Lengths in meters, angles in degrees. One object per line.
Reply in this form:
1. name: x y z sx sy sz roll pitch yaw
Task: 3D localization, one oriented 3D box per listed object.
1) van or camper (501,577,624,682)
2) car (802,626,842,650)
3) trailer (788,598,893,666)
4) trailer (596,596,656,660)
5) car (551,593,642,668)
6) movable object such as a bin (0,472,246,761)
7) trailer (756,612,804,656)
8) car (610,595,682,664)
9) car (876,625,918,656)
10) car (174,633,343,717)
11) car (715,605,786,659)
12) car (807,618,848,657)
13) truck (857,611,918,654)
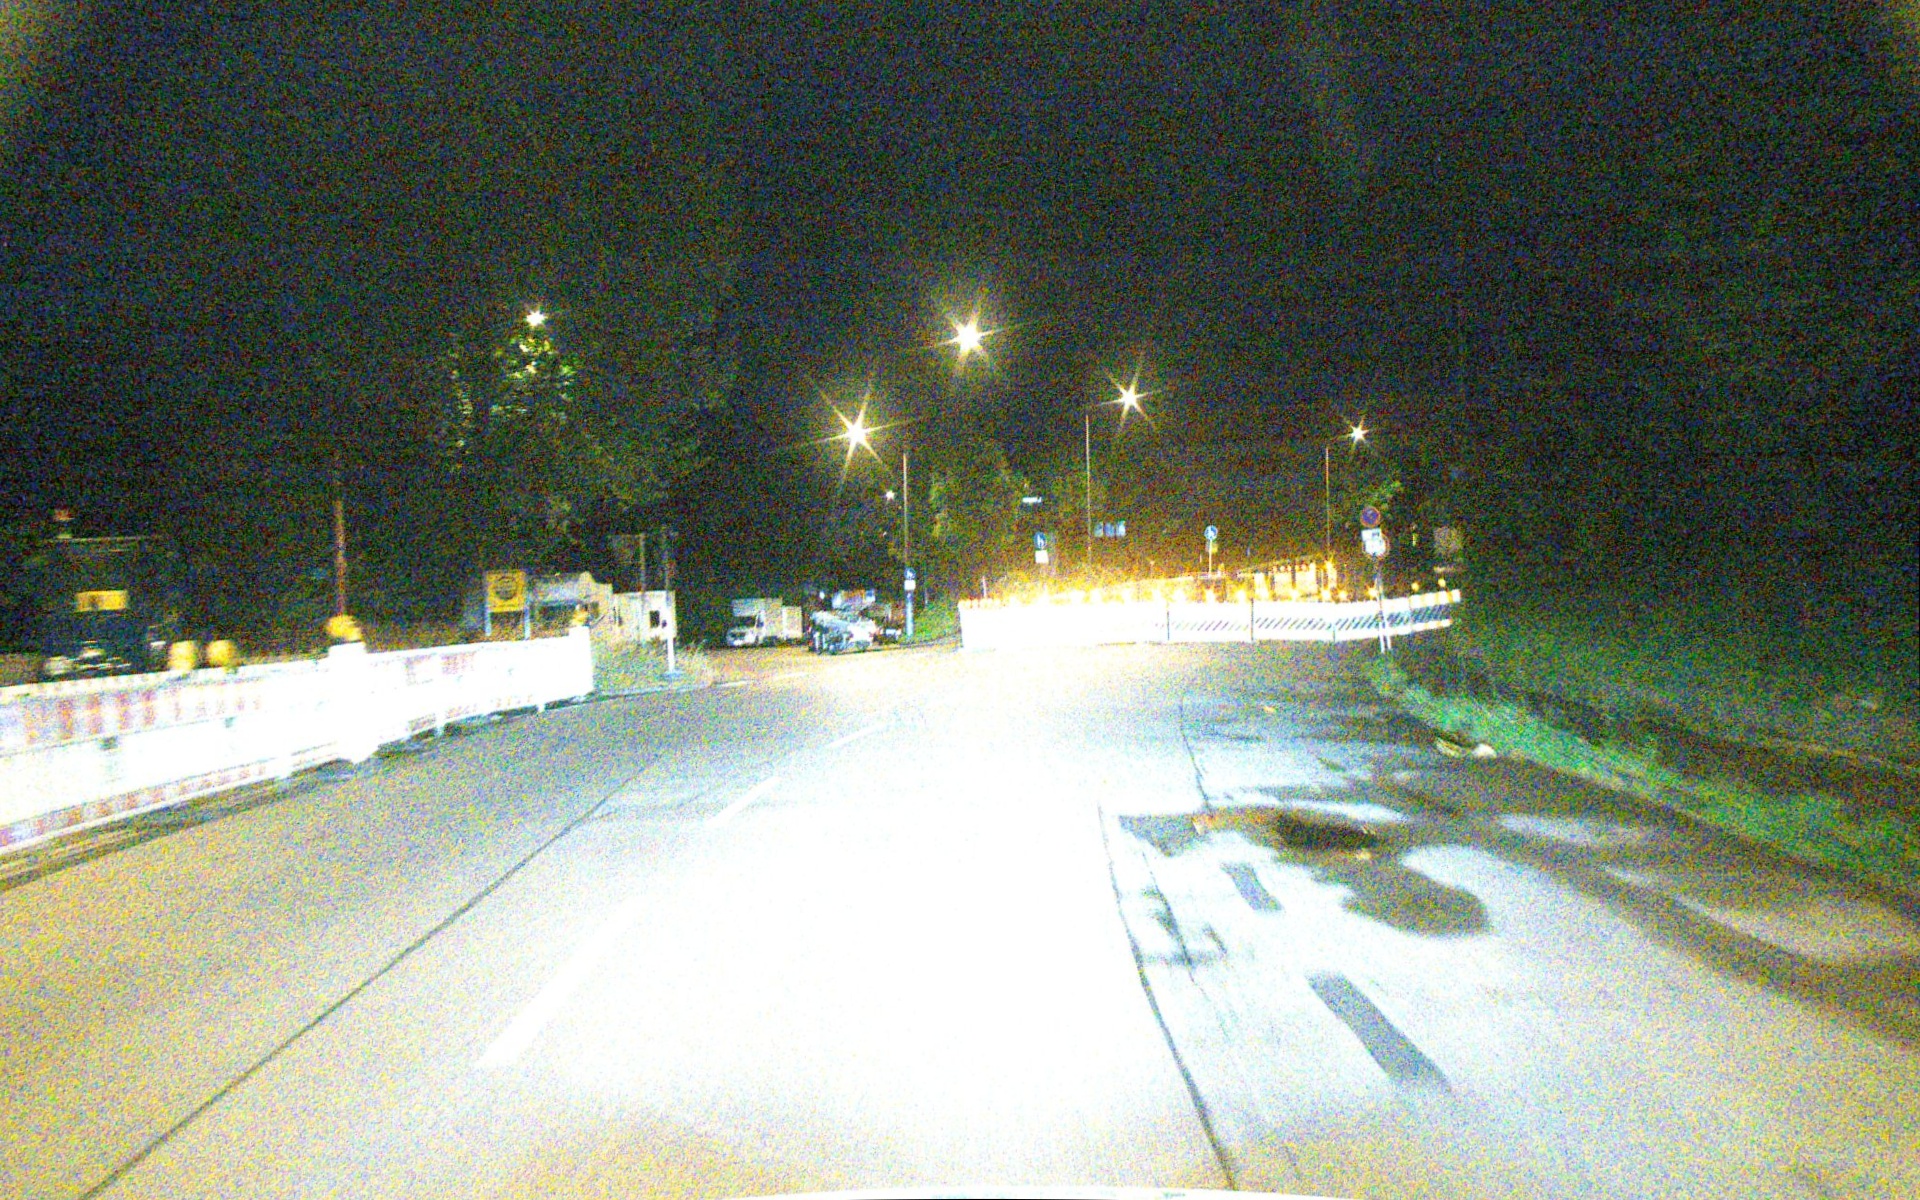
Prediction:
1. van or camper: -13.315 0.966 56.015 2.469 3.148 7.441 -4 -1 -3
2. car: -10.570 2.912 127.356 1.951 1.729 4.209 -2 -1 11
3. trailer: -4.405 1.196 60.094 1.544 2.198 5.166 -3 -1 -31
4. trailer: -14.520 1.210 72.090 1.954 2.571 3.565 -4 0 -4
5. car: -14.276 1.193 65.485 2.470 2.651 7.083 -4 -1 -5
6. movable object such as a bin: -9.330 0.161 18.390 1.543 2.781 3.692 -5 1 -10
7. trailer: -12.579 2.336 115.779 1.951 2.862 4.707 -2 0 11
8. car: -14.949 1.392 79.138 2.470 2.978 7.193 -4 -1 -5
9. car: -3.898 2.524 103.354 1.684 1.853 4.003 -2 -2 11
10. car: -27.099 2.846 64.197 1.952 2.891 6.681 -1 0 20
11. car: -13.776 2.060 109.327 2.465 3.226 7.144 -4 -1 10
12. car: -5.954 1.689 74.696 1.686 1.690 3.997 -1 -1 -3
13. truck: -6.245 2.792 143.942 1.952 3.463 8.982 -1 0 20
